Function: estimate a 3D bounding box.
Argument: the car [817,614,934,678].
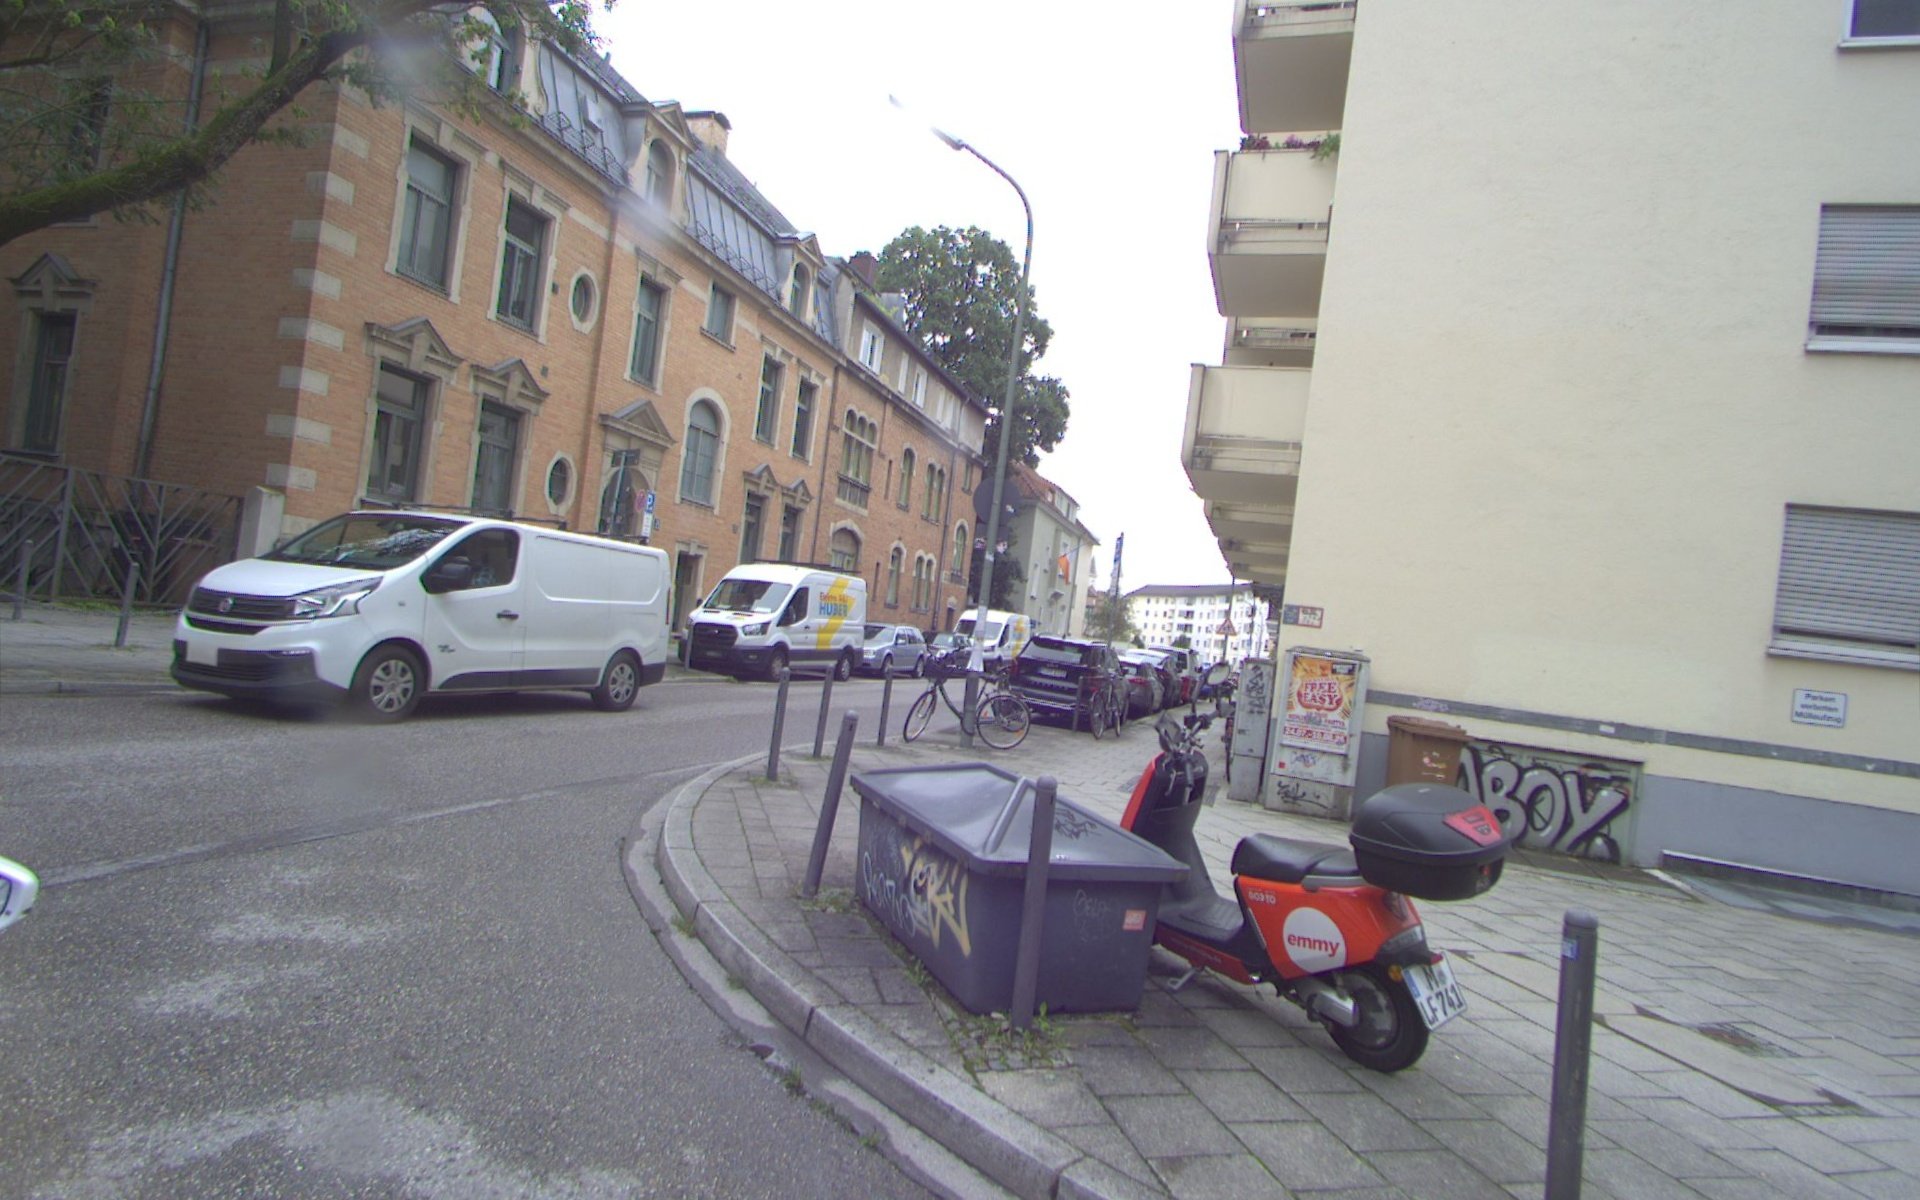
[{"bbox_3d":[-2.191,1.299,27.250,1.662,1.471,4.001,5,-3,18],"label":"car"}]

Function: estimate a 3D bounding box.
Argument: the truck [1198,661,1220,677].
[{"bbox_3d":[44.985,12.409,181.979,2.581,2.327,5.444,8,-1,3],"label":"truck"}]

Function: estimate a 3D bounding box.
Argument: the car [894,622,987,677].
[{"bbox_3d":[-0.568,1.640,32.317,1.672,1.448,3.834,6,-3,19],"label":"car"}]

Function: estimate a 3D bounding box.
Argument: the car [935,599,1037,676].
[{"bbox_3d":[1.077,1.482,37.384,2.104,2.376,5.376,7,-2,18],"label":"car"}]

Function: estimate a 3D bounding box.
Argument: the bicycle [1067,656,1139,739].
[{"bbox_3d":[2.298,1.540,15.973,0.571,1.167,1.964,6,-2,22],"label":"bicycle"}]

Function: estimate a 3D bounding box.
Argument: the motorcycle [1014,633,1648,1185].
[{"bbox_3d":[1.274,0.955,3.935,0.811,1.373,2.062,7,1,-39],"label":"motorcycle"}]

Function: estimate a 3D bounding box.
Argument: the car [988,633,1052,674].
[{"bbox_3d":[2.630,2.336,43.263,1.717,1.461,4.005,7,-2,17],"label":"car"}]

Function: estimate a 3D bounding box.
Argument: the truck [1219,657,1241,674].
[{"bbox_3d":[42.780,10.401,159.538,2.190,2.328,5.294,5,-1,4],"label":"truck"}]

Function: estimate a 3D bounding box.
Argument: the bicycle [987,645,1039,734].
[{"bbox_3d":[0.812,1.297,15.014,0.570,1.167,1.965,7,-2,5],"label":"bicycle"}]

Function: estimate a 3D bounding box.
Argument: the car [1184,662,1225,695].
[{"bbox_3d":[12.968,4.154,53.128,1.623,1.450,4.004,7,-2,19],"label":"car"}]

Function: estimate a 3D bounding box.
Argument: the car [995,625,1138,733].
[{"bbox_3d":[2.234,1.550,19.824,1.821,1.657,4.555,7,-2,17],"label":"car"}]

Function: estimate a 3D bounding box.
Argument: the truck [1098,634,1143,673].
[{"bbox_3d":[11.229,3.782,70.108,1.962,2.345,5.415,7,-2,19],"label":"truck"}]

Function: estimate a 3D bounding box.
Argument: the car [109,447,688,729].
[{"bbox_3d":[-5.172,0.029,10.314,2.008,2.065,4.961,6,-2,19],"label":"car"}]

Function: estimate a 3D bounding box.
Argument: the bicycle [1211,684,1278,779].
[{"bbox_3d":[3.709,1.669,13.029,0.571,1.066,1.764,6,-2,22],"label":"bicycle"}]

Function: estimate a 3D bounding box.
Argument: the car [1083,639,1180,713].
[{"bbox_3d":[4.472,1.936,25.745,1.700,1.476,4.421,8,-2,17],"label":"car"}]

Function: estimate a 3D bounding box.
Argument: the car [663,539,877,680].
[{"bbox_3d":[-3.836,0.367,21.633,1.961,2.496,5.477,5,-3,18],"label":"car"}]

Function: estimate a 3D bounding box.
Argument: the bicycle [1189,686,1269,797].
[{"bbox_3d":[3.040,1.538,11.260,0.571,1.066,1.764,6,-2,21],"label":"bicycle"}]

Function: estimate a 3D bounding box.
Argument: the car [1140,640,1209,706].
[{"bbox_3d":[7.755,2.618,36.115,1.840,1.990,4.822,7,-2,17],"label":"car"}]

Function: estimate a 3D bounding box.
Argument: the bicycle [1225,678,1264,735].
[{"bbox_3d":[5.938,2.203,21.083,0.570,1.066,1.765,7,-2,13],"label":"bicycle"}]

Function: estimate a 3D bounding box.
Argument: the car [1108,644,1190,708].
[{"bbox_3d":[5.849,2.328,30.695,1.830,1.569,4.759,7,-2,17],"label":"car"}]

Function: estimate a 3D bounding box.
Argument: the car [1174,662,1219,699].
[{"bbox_3d":[10.811,3.684,45.929,1.583,1.450,3.623,7,-2,18],"label":"car"}]

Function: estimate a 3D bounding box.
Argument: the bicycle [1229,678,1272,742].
[{"bbox_3d":[5.468,2.049,19.004,0.570,1.066,1.840,7,-2,13],"label":"bicycle"}]

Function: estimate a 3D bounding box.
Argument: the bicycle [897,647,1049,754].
[{"bbox_3d":[0.138,1.234,12.553,1.731,1.078,0.776,7,-1,-4],"label":"bicycle"}]

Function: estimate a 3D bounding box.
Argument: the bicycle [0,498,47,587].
[{"bbox_3d":[-14.672,-0.939,14.986,2.043,1.233,0.536,7,-1,18],"label":"bicycle"}]

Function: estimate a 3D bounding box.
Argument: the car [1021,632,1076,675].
[{"bbox_3d":[4.351,2.632,48.769,1.792,1.730,4.005,7,-2,16],"label":"car"}]

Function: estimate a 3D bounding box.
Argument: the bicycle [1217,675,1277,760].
[{"bbox_3d":[4.669,1.882,16.460,0.676,1.220,1.765,7,-2,12],"label":"bicycle"}]
